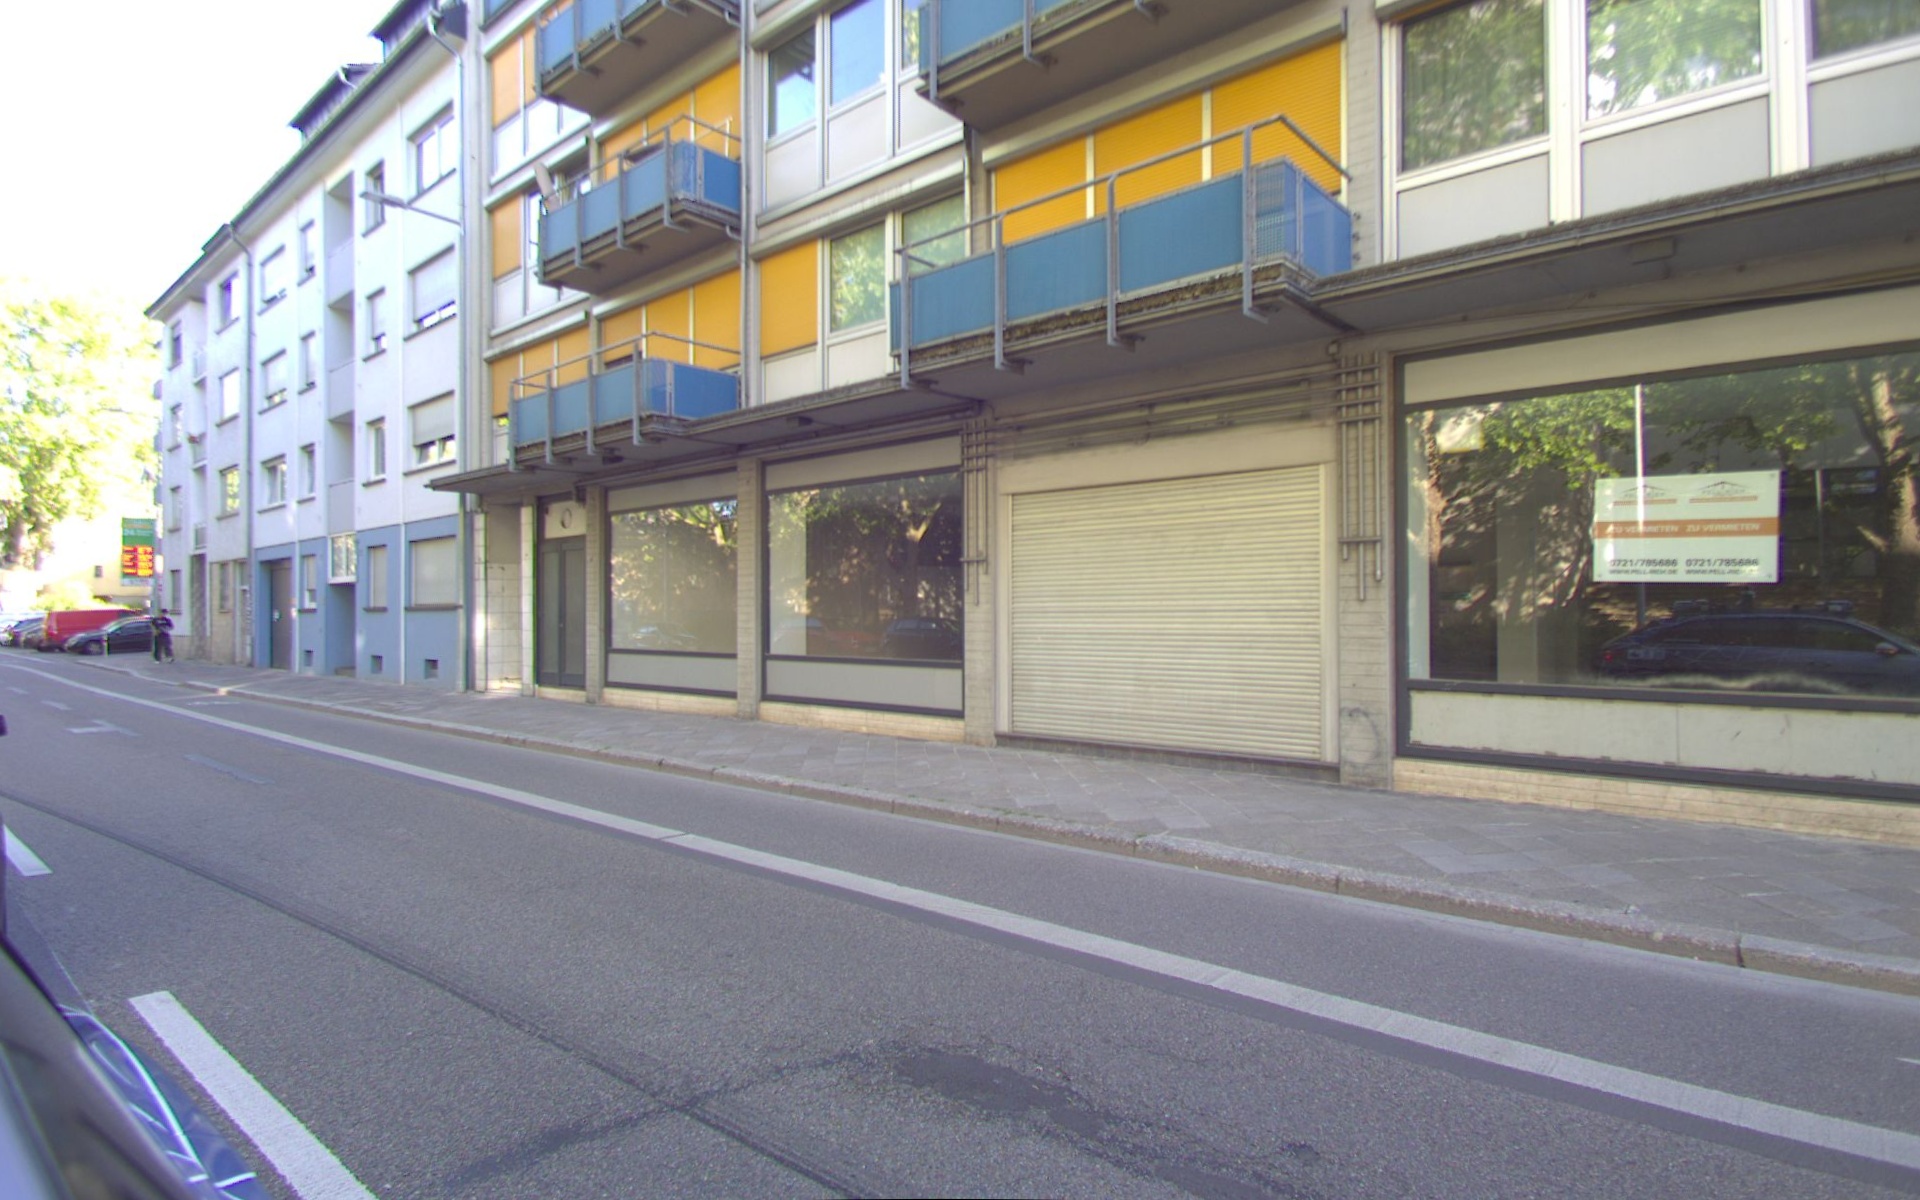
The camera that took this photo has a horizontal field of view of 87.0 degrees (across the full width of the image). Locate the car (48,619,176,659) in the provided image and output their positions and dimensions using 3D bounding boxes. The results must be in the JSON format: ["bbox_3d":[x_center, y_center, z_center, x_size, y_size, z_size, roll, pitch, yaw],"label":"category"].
[{"bbox_3d":[-38.192,1.731,45.645,1.652,1.480,4.201,-1,1,41],"label":"car"}]

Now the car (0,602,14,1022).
[{"bbox_3d":[-5.644,0.796,4.396,4.300,1.510,1.826,-1,-1,41],"label":"car"}]

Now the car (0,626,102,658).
[{"bbox_3d":[-50.470,2.291,56.092,1.652,1.480,4.201,-1,1,41],"label":"car"}]

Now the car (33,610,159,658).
[{"bbox_3d":[-40.573,1.558,47.607,1.817,1.933,4.202,-1,1,40],"label":"car"}]

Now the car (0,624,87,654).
[{"bbox_3d":[-54.503,2.277,59.777,1.652,1.480,4.201,-1,1,41],"label":"car"}]

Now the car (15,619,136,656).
[{"bbox_3d":[-42.761,1.790,49.003,1.652,1.480,4.201,-1,1,41],"label":"car"}]

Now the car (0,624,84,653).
[{"bbox_3d":[-55.885,2.298,61.184,1.652,1.480,4.201,-1,1,41],"label":"car"}]

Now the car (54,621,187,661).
[{"bbox_3d":[-36.499,1.744,44.082,1.652,1.411,4.201,-1,1,41],"label":"car"}]

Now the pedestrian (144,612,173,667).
[{"bbox_3d":[-25.175,1.233,31.789,0.655,1.708,0.604,-2,-1,41],"label":"pedestrian"}]
